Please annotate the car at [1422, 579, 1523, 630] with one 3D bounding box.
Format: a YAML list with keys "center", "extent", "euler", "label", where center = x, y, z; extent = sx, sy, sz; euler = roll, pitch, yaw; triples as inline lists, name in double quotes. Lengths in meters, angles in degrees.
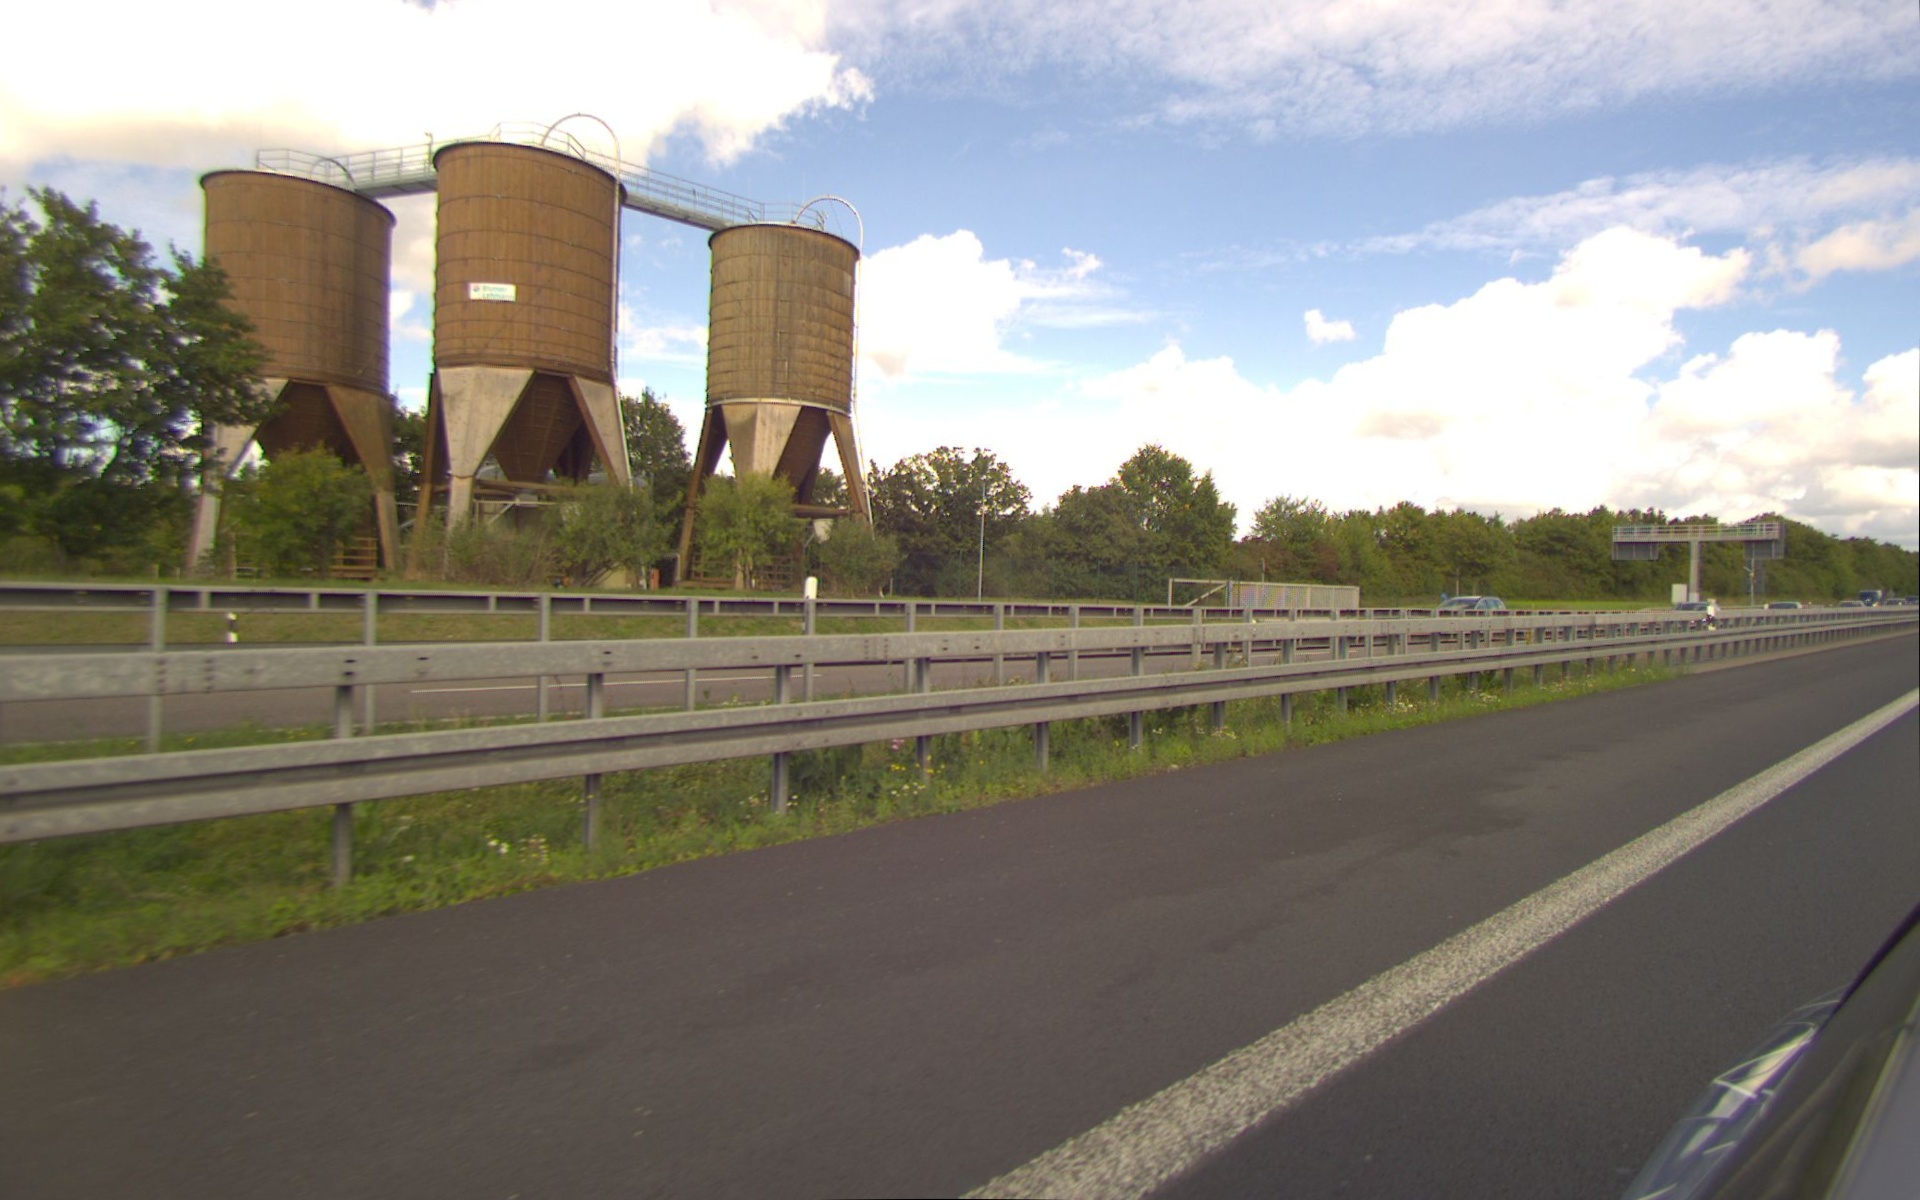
- center: [19.066, 0.129, 37.621]
  extent: [3.930, 1.729, 1.998]
  euler: [0, 3, -41]
  label: "car"

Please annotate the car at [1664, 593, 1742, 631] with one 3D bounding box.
- center: [32.437, 0.487, 44.142]
  extent: [3.932, 1.503, 1.996]
  euler: [0, 2, -42]
  label: "car"

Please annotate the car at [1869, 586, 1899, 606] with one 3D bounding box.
- center: [102.009, -0.447, 111.730]
  extent: [5.040, 2.213, 1.996]
  euler: [0, 1, -42]
  label: "car"
